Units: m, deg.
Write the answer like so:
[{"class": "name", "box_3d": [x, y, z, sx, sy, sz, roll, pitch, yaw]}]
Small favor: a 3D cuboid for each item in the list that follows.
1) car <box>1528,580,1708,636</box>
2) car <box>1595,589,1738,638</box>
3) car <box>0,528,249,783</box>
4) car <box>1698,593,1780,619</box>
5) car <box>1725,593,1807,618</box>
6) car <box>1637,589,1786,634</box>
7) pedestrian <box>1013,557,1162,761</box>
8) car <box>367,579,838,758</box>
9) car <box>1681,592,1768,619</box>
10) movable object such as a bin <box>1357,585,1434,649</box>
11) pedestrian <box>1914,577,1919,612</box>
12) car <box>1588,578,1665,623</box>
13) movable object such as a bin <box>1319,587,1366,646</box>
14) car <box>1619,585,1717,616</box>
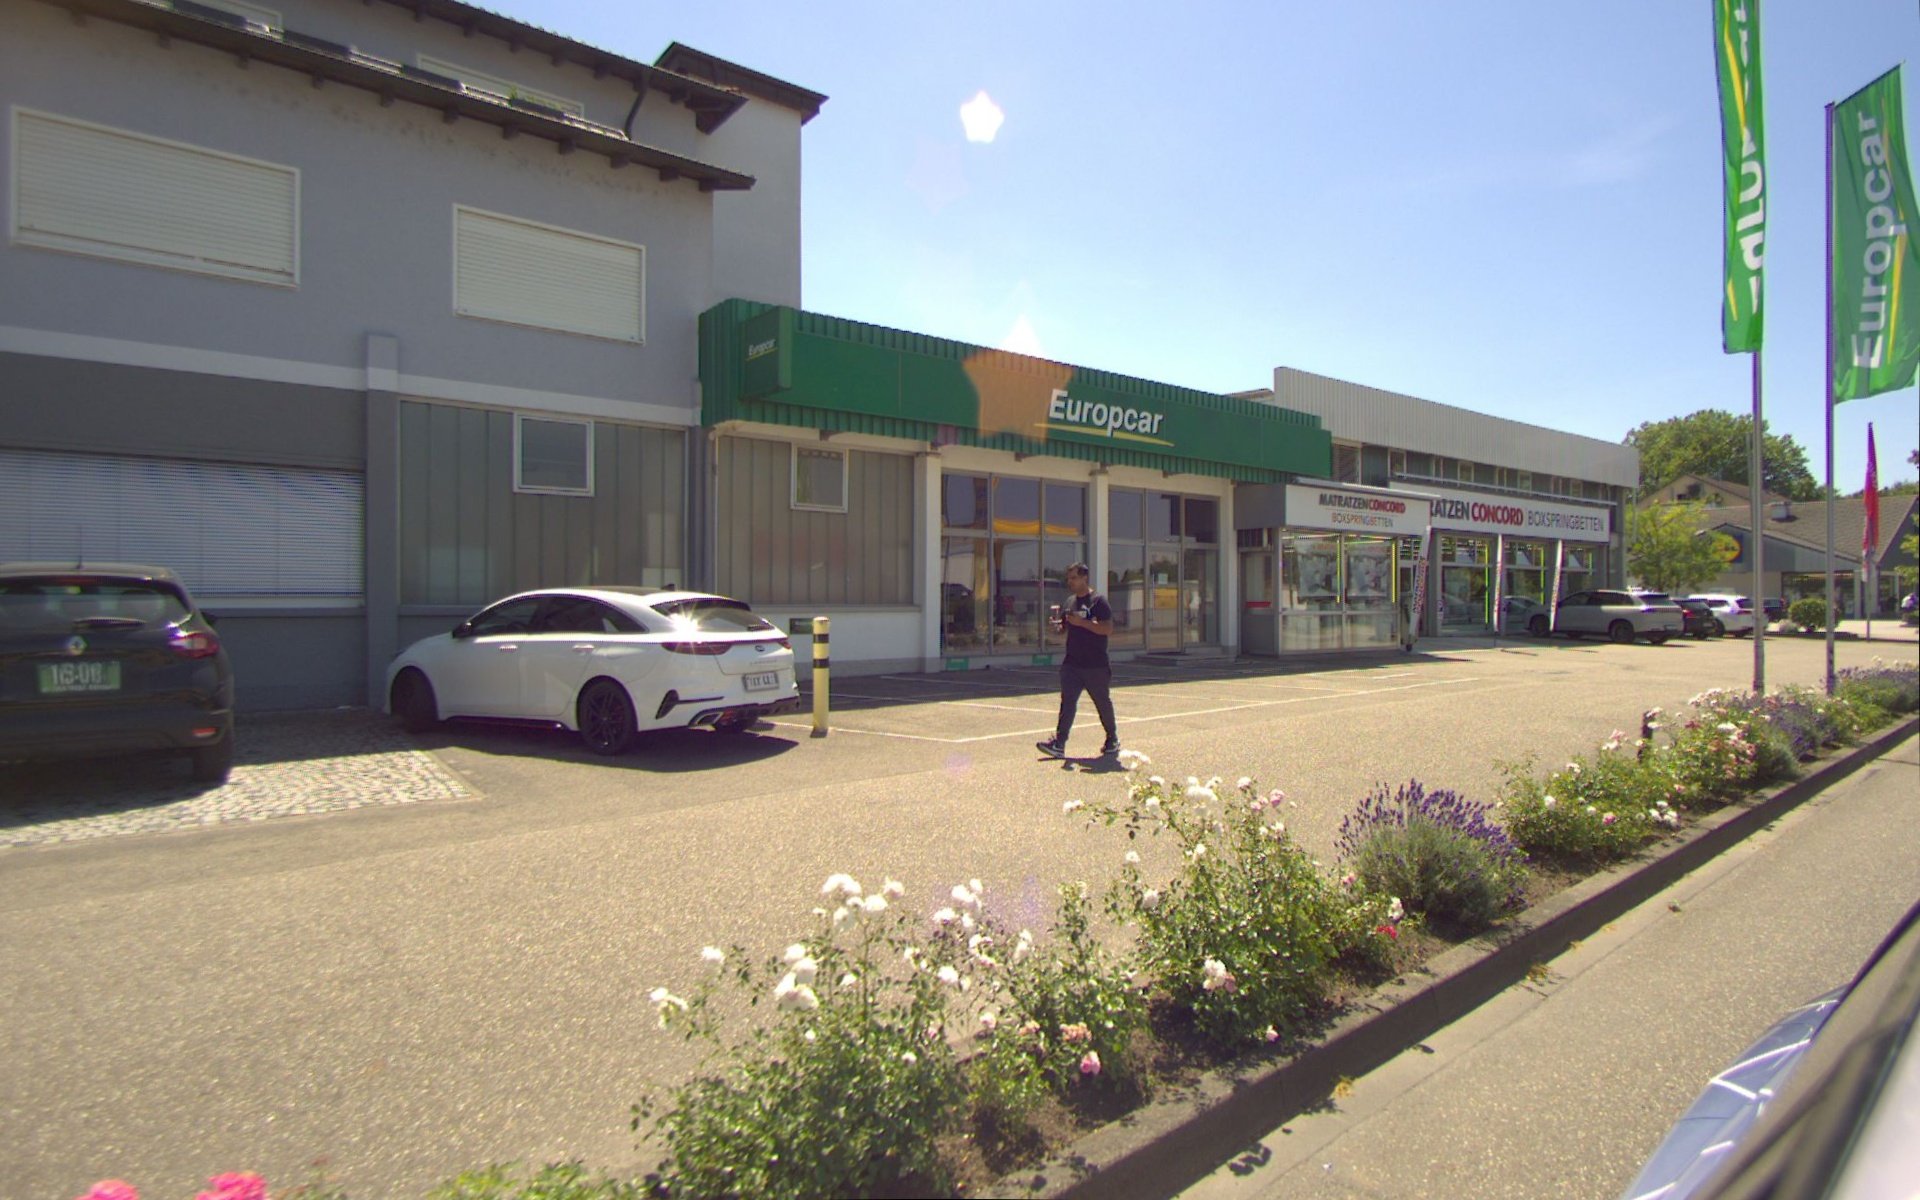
[{"class": "car", "box_3d": [21.150, 0.199, 32.794, 1.958, 1.662, 4.607, 0, 1, -21]}, {"class": "car", "box_3d": [25.029, 0.432, 35.991, 1.643, 1.552, 3.876, 0, 2, -22]}, {"class": "car", "box_3d": [-6.892, 0.255, 7.981, 1.766, 1.569, 3.996, 0, 3, -40]}, {"class": "car", "box_3d": [46.711, 0.341, 60.728, 1.713, 1.476, 3.608, 0, 0, -35]}, {"class": "car", "box_3d": [48.975, 0.315, 61.522, 1.640, 1.435, 3.608, 0, 0, -35]}, {"class": "car", "box_3d": [27.335, 0.372, 36.952, 1.768, 1.478, 4.008, 0, 1, -24]}, {"class": "pedestrian", "box_3d": [1.118, 0.472, 8.887, 0.991, 1.662, 0.843, 0, 1, -36]}, {"class": "car", "box_3d": [-3.508, 0.504, 9.828, 4.316, 1.388, 1.937, 1, 1, 28]}, {"class": "car", "box_3d": [44.828, 0.313, 59.413, 1.784, 1.523, 3.734, 0, 0, -35]}, {"class": "movable object such as a bin", "box_3d": [10.750, 0.395, 25.037, 0.688, 1.440, 1.570, 1, 3, -33]}, {"class": "pedestrian", "box_3d": [56.146, -0.332, 58.896, 0.788, 2.039, 0.784, 0, 1, -37]}, {"class": "car", "box_3d": [29.718, -0.013, 45.081, 4.181, 1.914, 1.709, -1, 1, -40]}, {"class": "movable object such as a bin", "box_3d": [9.952, 0.408, 26.324, 0.688, 1.462, 0.856, 0, 3, -33]}, {"class": "car", "box_3d": [38.509, 0.022, 55.111, 1.775, 1.583, 4.031, -1, 0, -37]}]
